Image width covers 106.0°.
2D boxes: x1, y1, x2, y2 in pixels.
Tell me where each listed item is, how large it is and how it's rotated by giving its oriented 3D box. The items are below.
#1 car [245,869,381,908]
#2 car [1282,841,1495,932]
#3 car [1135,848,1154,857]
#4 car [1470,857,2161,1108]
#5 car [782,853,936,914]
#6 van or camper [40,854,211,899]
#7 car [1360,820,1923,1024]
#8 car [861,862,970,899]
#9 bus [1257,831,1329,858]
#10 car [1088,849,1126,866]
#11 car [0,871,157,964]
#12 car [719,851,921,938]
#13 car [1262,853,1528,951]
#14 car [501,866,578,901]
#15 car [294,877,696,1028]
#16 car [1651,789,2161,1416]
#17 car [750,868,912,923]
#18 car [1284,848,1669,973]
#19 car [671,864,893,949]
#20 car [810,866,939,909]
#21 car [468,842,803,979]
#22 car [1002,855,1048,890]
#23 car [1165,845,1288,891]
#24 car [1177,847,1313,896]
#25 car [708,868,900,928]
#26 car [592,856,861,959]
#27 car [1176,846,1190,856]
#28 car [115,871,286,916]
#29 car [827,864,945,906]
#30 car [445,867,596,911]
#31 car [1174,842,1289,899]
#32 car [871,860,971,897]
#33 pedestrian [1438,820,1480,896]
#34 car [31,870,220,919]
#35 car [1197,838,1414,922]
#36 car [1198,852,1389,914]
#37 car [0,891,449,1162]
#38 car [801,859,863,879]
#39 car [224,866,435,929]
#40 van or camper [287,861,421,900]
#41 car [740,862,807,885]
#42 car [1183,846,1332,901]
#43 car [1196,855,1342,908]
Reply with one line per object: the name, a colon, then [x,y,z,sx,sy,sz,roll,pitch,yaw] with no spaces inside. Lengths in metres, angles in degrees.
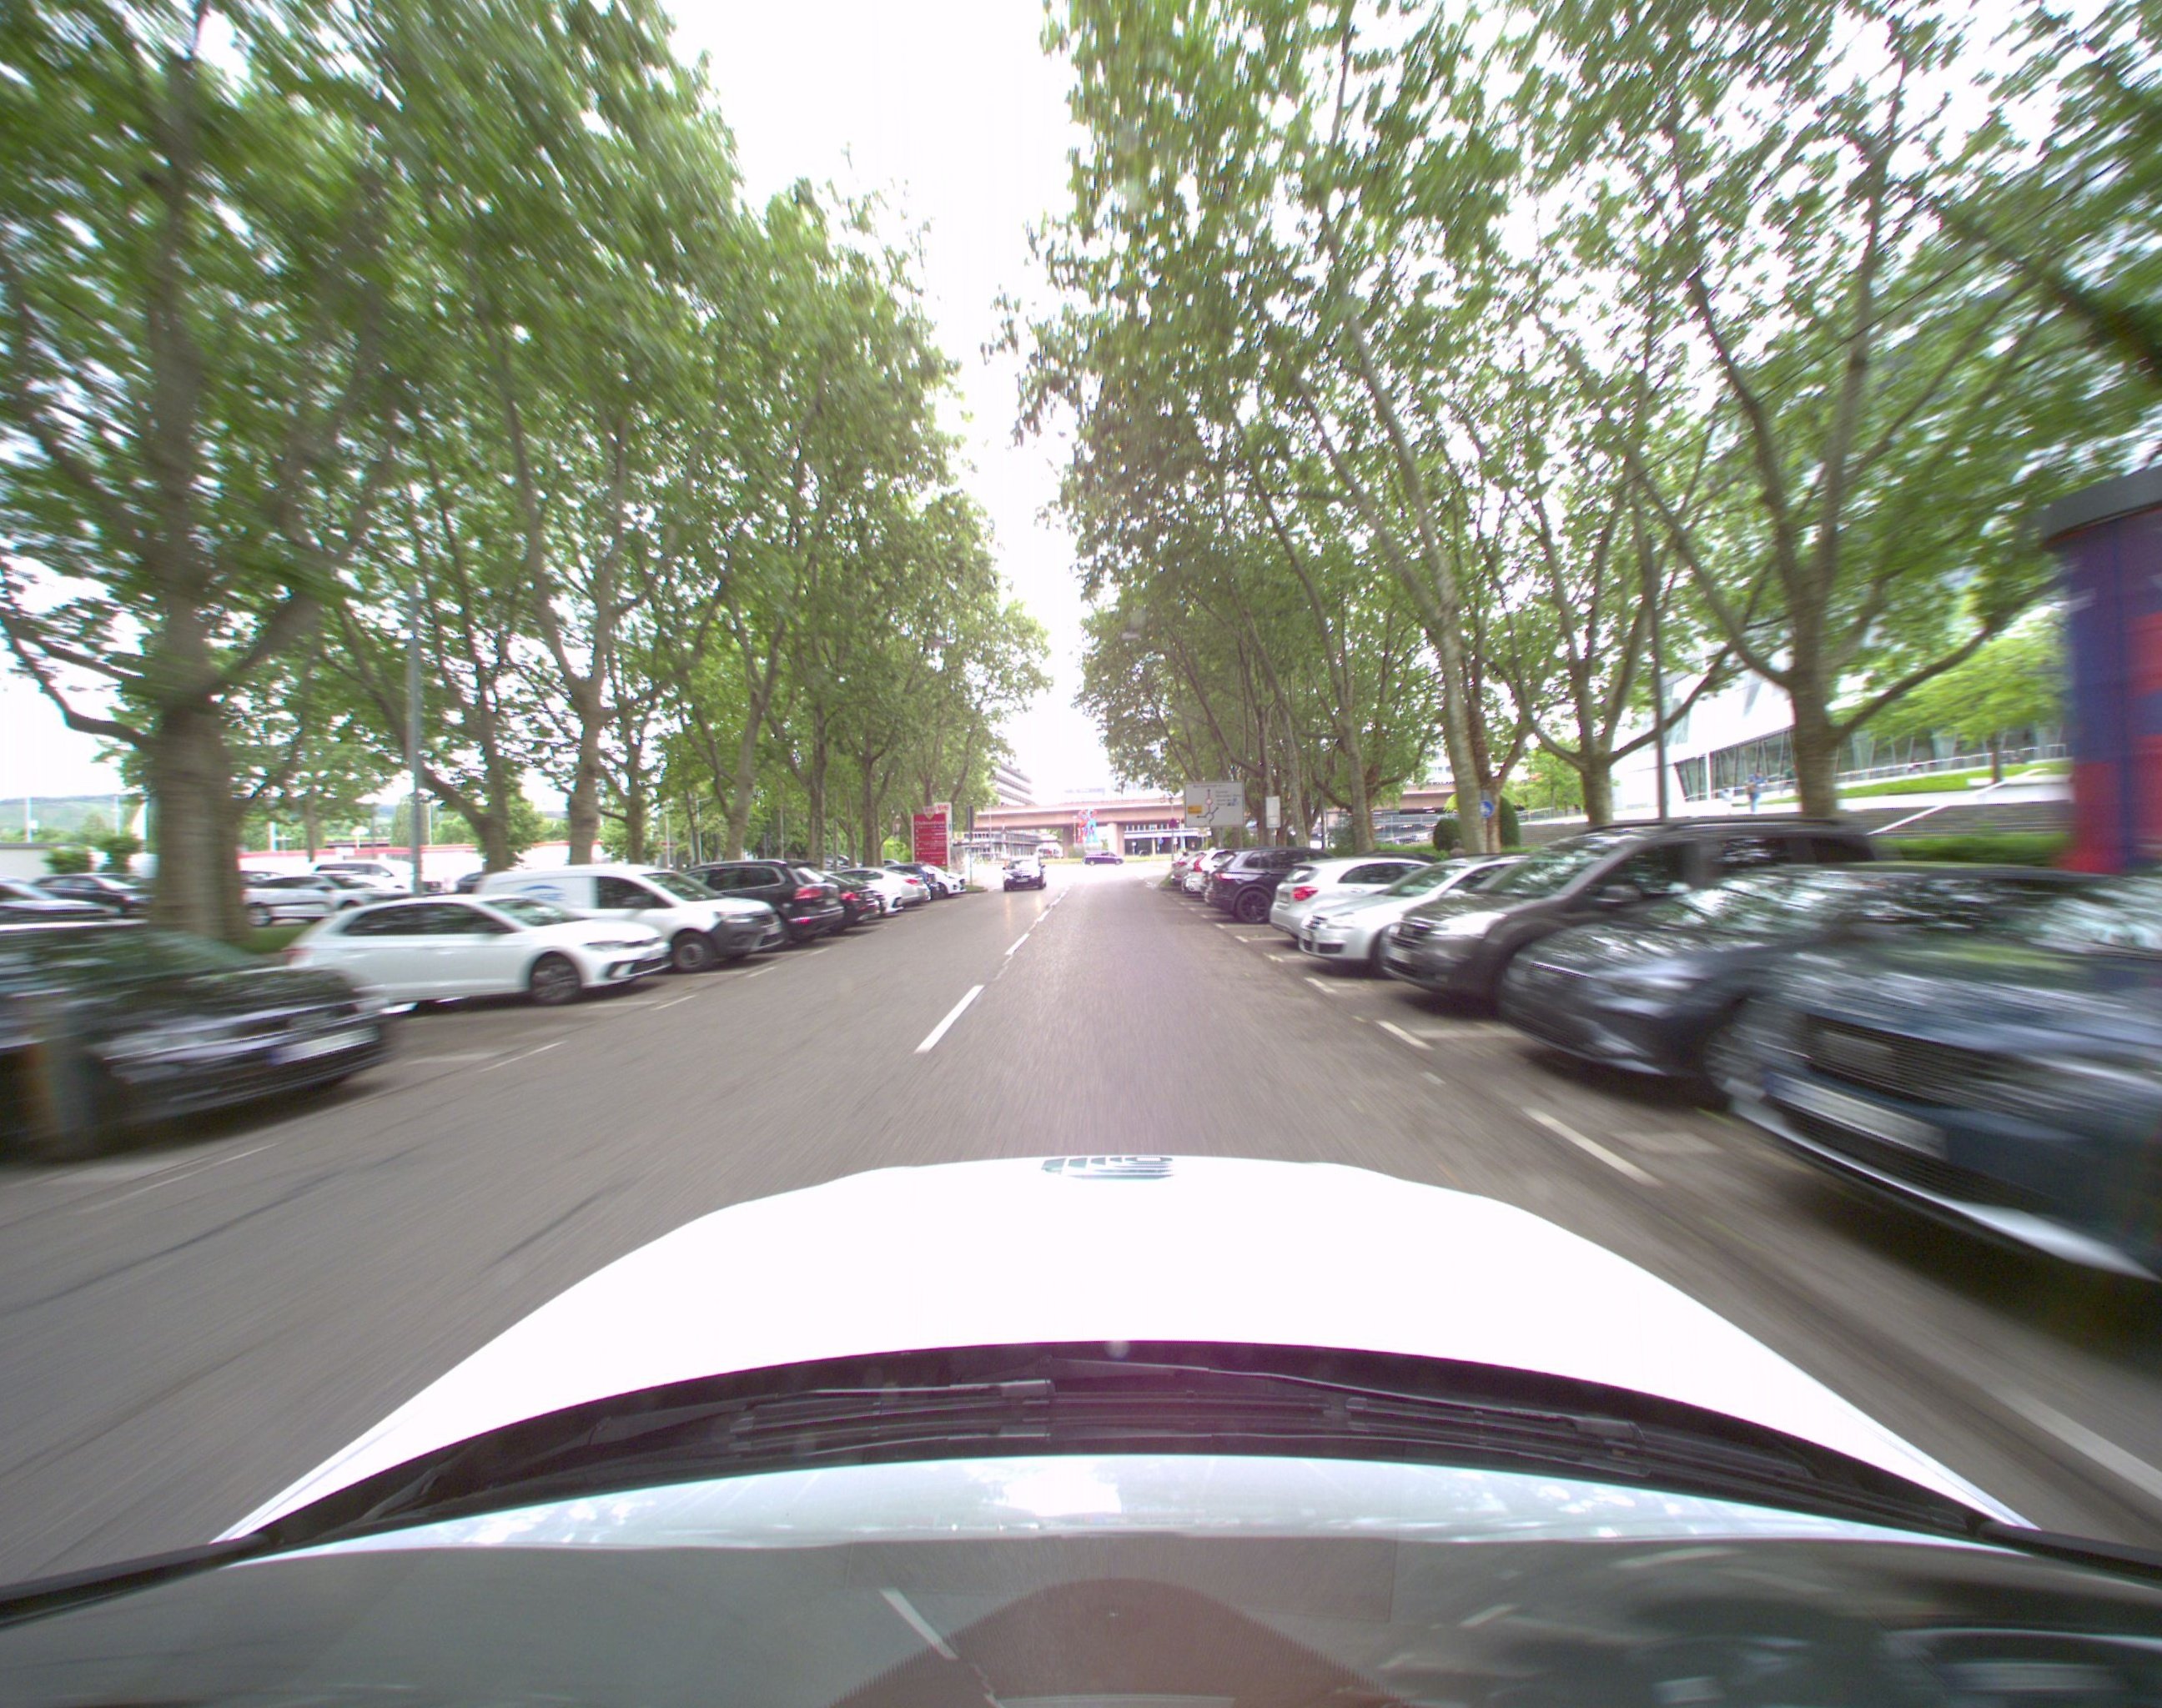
car: [-33.700,1.506,35.828,4.204,1.548,1.789,-1,-1,-1]
car: [5.834,0.593,15.733,3.423,1.492,1.680,-3,0,0]
car: [13.512,-0.327,173.573,1.974,1.772,4.025,-2,-1,40]
car: [5.036,0.736,5.482,4.025,1.380,1.744,0,0,1]
car: [-6.948,0.902,25.854,4.251,1.548,1.907,-4,0,-1]
van or camper: [-46.092,1.040,39.512,1.987,2.014,5.303,-1,0,0]
car: [5.222,0.580,8.024,4.333,1.745,1.836,0,0,-1]
car: [-6.747,1.071,33.524,3.975,1.385,1.914,-1,-1,4]
bus: [32.572,-1.525,124.976,11.085,3.934,2.740,-1,-1,-20]
car: [3.278,0.443,103.238,4.754,2.014,2.282,-1,-1,-1]
car: [-22.718,1.290,16.868,4.503,1.762,2.296,-1,-1,0]
car: [-6.411,0.953,20.335,4.302,1.810,1.868,-4,0,1]
car: [4.902,0.715,13.036,3.630,1.427,1.664,0,0,-2]
car: [-26.402,1.395,39.887,2.101,1.552,4.942,-1,0,-21]
car: [-7.383,1.178,10.671,3.782,1.472,1.759,-4,0,-10]
car: [5.028,0.626,2.965,4.572,1.639,1.874,0,0,3]
car: [-7.040,1.147,23.230,3.974,1.404,1.885,-1,-1,0]
car: [4.886,0.668,10.503,4.133,1.458,1.728,0,0,1]
car: [-6.600,1.138,18.321,4.112,1.452,2.015,-4,0,3]
car: [-7.185,1.152,28.597,3.973,1.405,1.862,-1,-1,1]
car: [-7.098,0.852,13.369,4.307,1.810,1.866,-4,0,-3]
car: [-2.539,0.818,37.580,1.836,1.510,4.014,-1,0,0]
car: [5.386,0.511,30.550,4.330,1.633,1.926,0,0,1]
car: [5.543,0.570,27.927,4.330,1.605,1.926,0,0,1]
car: [-6.938,1.077,20.750,4.177,1.354,1.966,-1,0,-1]
car: [-6.757,0.979,15.881,4.302,1.795,2.037,-1,-1,1]
car: [21.060,-0.679,168.465,1.977,2.014,4.019,-1,0,19]
car: [-33.392,1.483,30.982,4.306,1.548,1.959,-1,-1,0]
car: [-7.359,1.152,30.997,3.980,1.493,1.832,-1,-1,1]
car: [-21.682,1.335,31.649,4.306,1.548,2.203,-1,-1,0]
car: [5.555,0.582,30.460,3.972,2.013,2.001,0,0,1]
car: [-7.019,1.061,35.940,3.978,1.540,1.806,-1,-1,2]
pedestrian: [10.224,0.102,22.029,0.786,2.014,0.596,-1,-1,-15]
car: [-33.521,1.399,28.661,4.306,1.548,1.959,-1,-1,0]
car: [4.892,0.542,18.168,4.332,1.761,1.925,0,0,-1]
car: [5.246,0.693,20.558,4.333,1.456,1.949,0,1,-1]
car: [-7.095,1.145,5.706,3.960,1.421,1.758,-4,0,4]
car: [-21.295,1.300,69.864,4.606,1.568,2.110,-1,-1,3]
car: [-22.353,1.251,24.373,4.306,1.709,2.131,-1,-1,0]
van or camper: [-34.051,1.228,38.243,4.306,1.709,2.131,-1,-1,0]
car: [-21.954,1.352,58.211,3.972,1.522,2.002,-1,-1,1]
car: [5.459,0.590,25.595,4.330,1.633,1.926,0,0,1]
car: [5.208,0.744,22.916,3.718,1.402,1.776,0,0,0]
